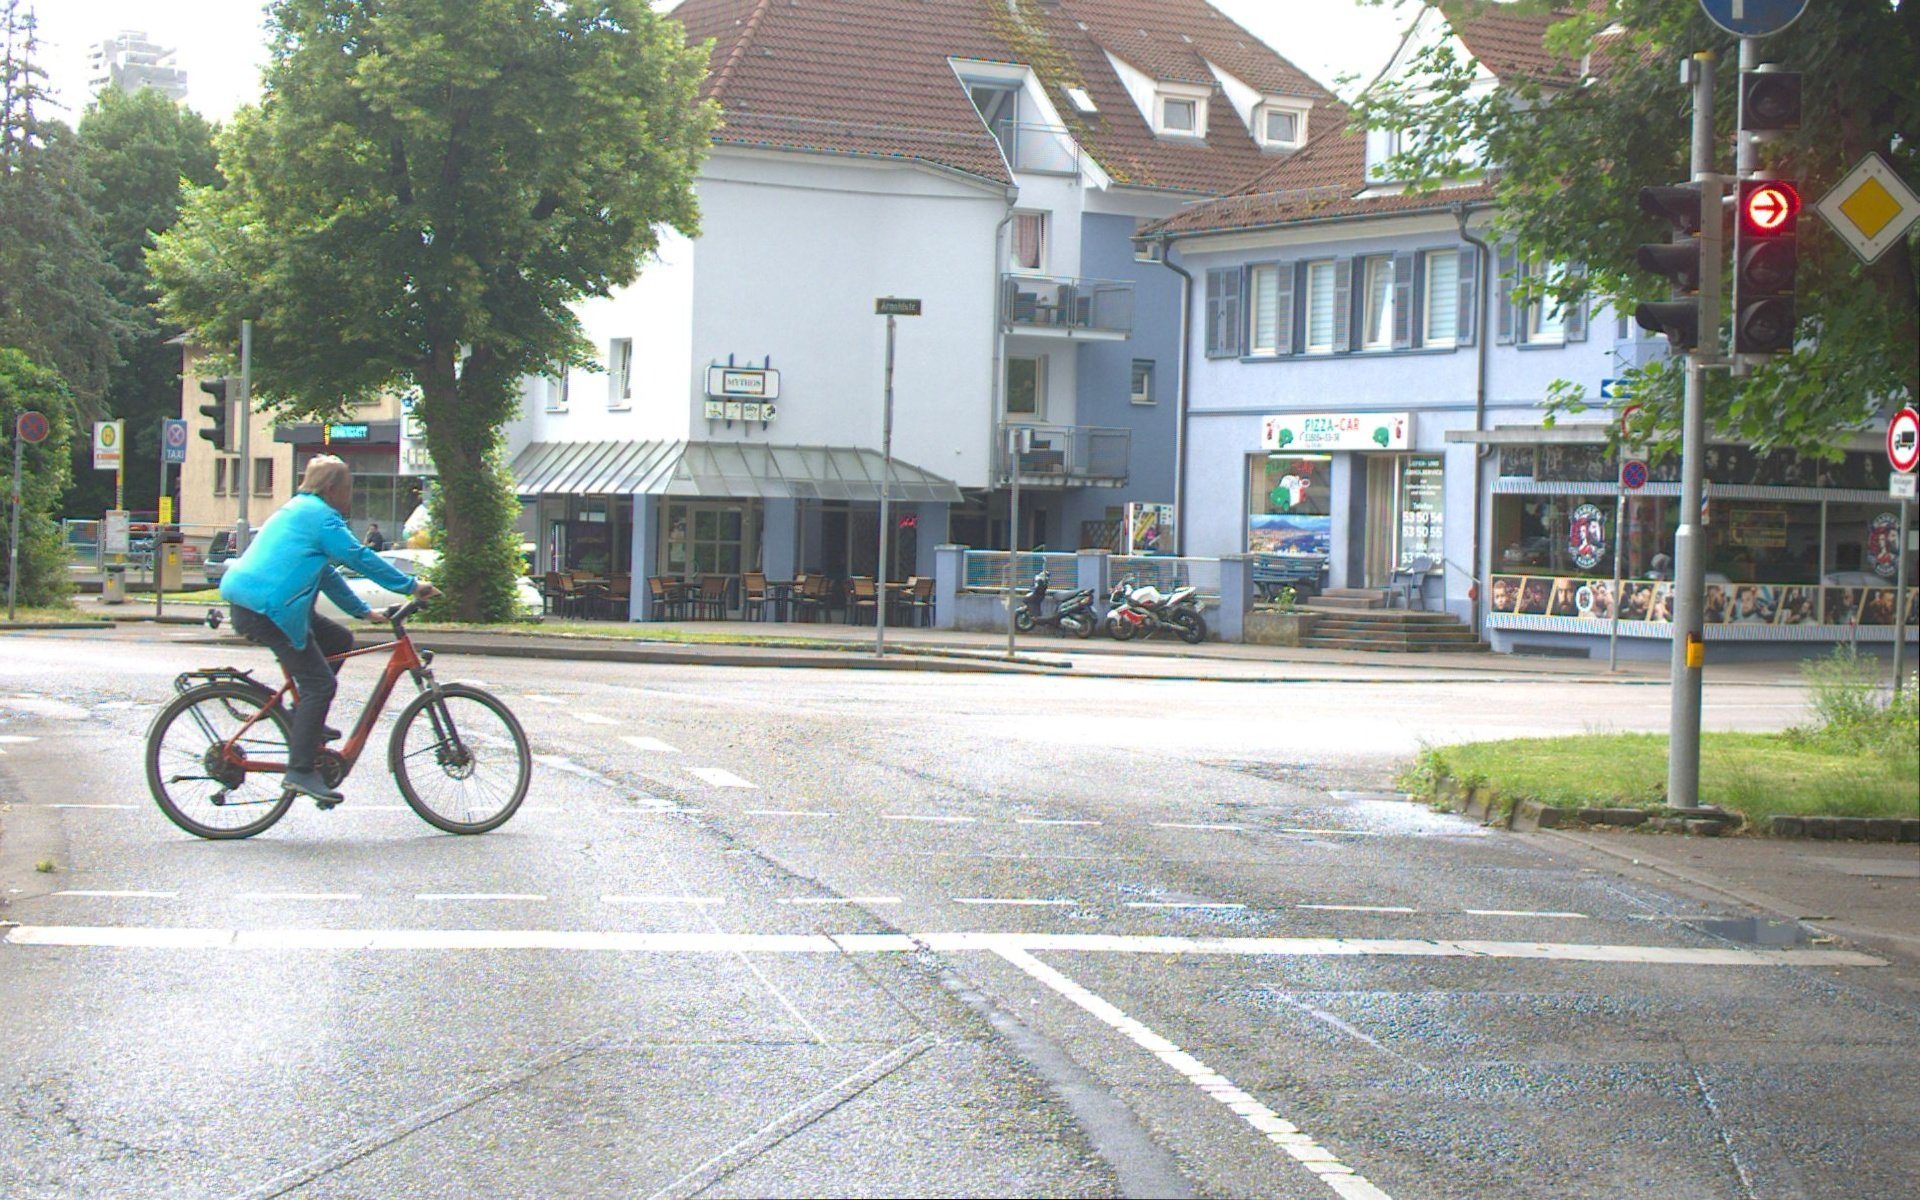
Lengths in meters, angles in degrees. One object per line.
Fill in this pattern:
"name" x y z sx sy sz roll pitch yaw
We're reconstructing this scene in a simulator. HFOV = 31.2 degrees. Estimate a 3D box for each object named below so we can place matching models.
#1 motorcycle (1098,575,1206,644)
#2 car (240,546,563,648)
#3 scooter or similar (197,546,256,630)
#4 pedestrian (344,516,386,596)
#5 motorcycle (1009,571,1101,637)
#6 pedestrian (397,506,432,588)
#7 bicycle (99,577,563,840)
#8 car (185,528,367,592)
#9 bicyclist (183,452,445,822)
"motorcycle" 3.130 0.143 56.129 1.627 1.085 0.626 1 1 27
"car" -8.539 -0.066 52.452 4.707 1.405 1.899 2 1 30
"scooter or similar" -10.472 -0.180 49.118 0.442 1.171 1.437 1 1 4
"pedestrian" -15.083 -1.119 87.161 0.837 2.007 1.056 1 1 -20
"motorcycle" 1.601 0.062 57.767 1.457 1.085 0.523 1 1 30
"pedestrian" -10.424 -1.010 65.683 0.543 1.554 0.468 1 0 8
"bicycle" -2.916 0.486 15.935 1.946 1.145 0.876 1 1 -24
"car" -16.256 -0.953 81.743 3.937 1.437 1.753 0 1 -25
"bicyclist" -2.995 0.159 15.893 0.985 1.646 0.918 1 1 -23
